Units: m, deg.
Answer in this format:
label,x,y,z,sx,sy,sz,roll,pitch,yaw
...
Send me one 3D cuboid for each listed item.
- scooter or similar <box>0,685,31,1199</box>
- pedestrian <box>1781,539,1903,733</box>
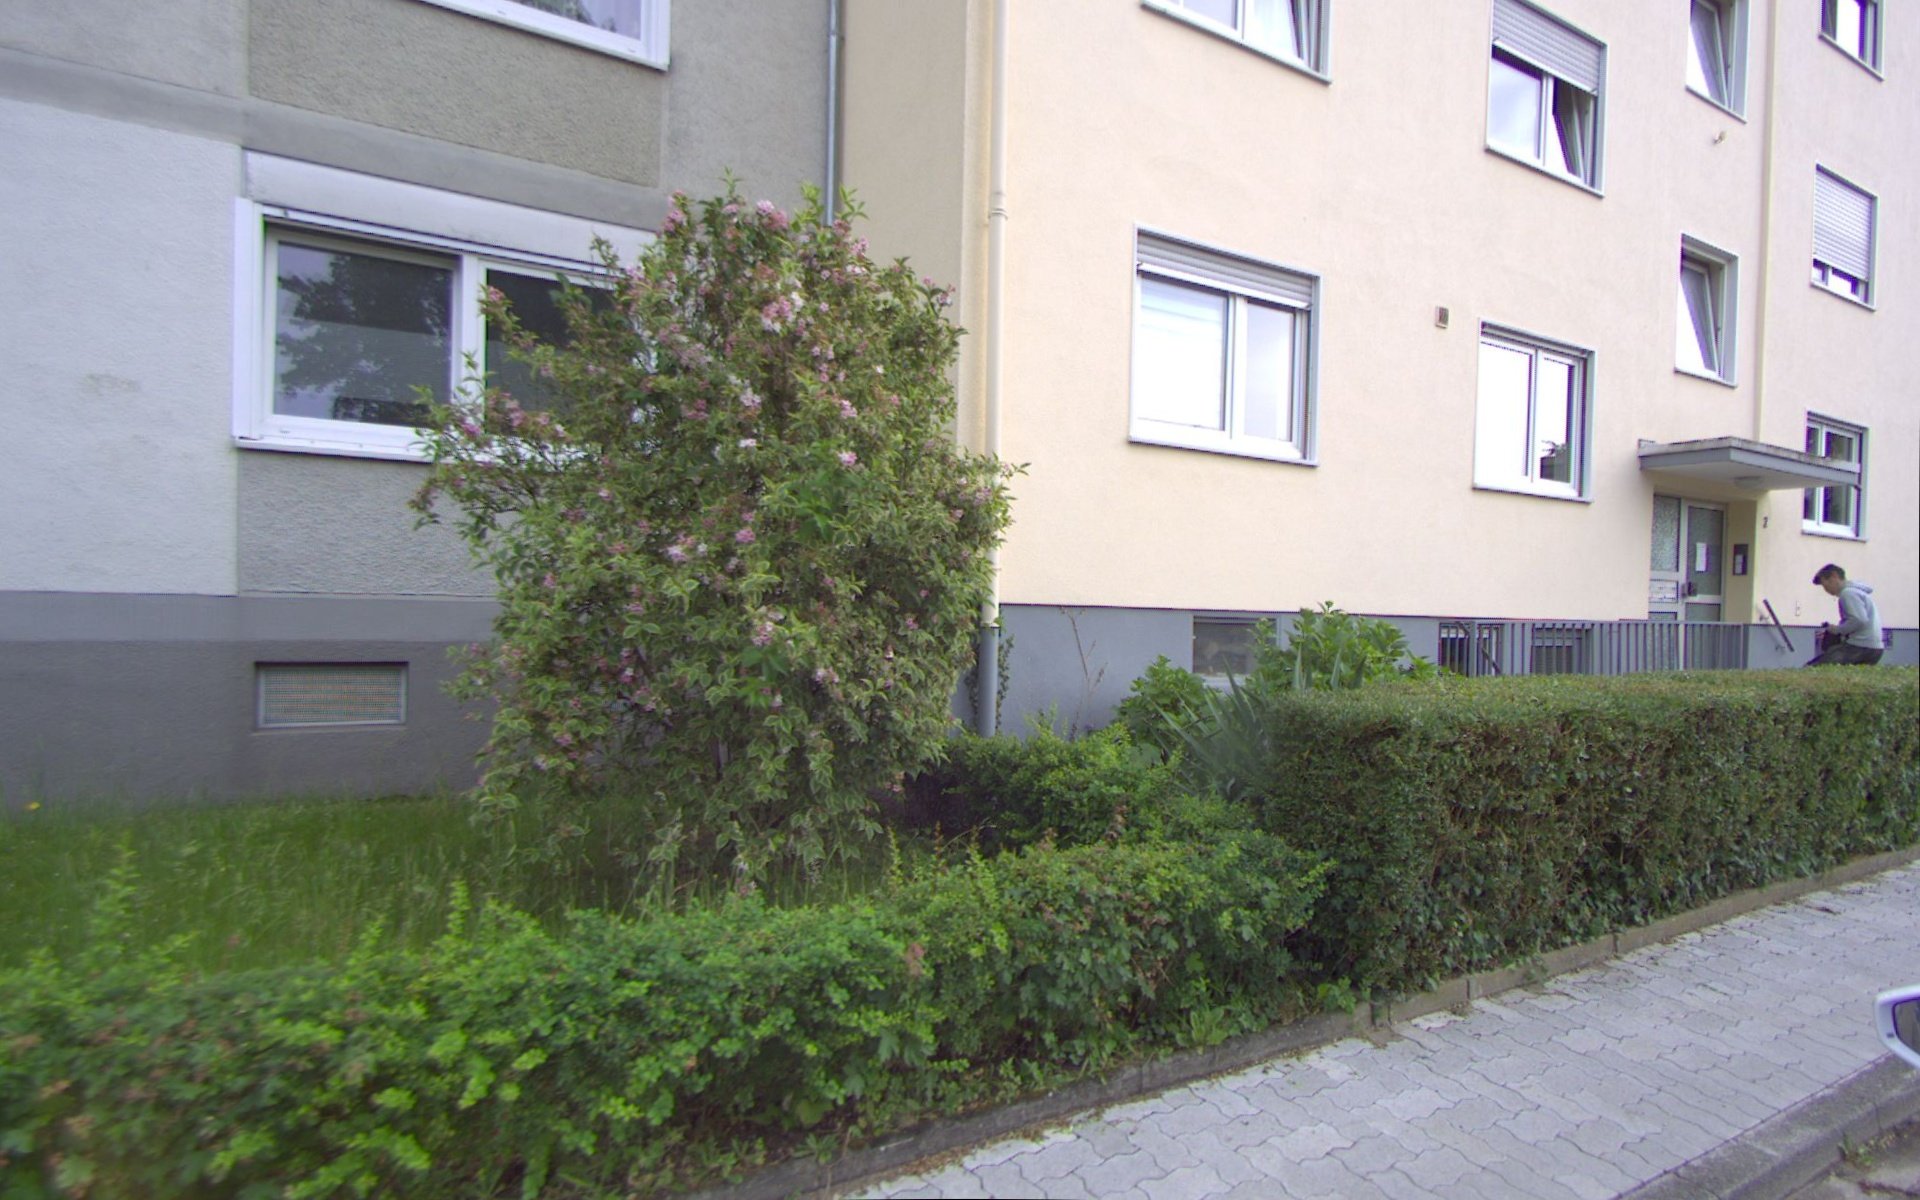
label,x,y,z,sx,sy,sz,roll,pitch,yaw
scooter or similar,-1.828,0.734,1.097,1.151,1.227,0.271,1,0,-31
pedestrian,8.494,0.328,9.676,0.749,1.772,0.674,1,1,-36
